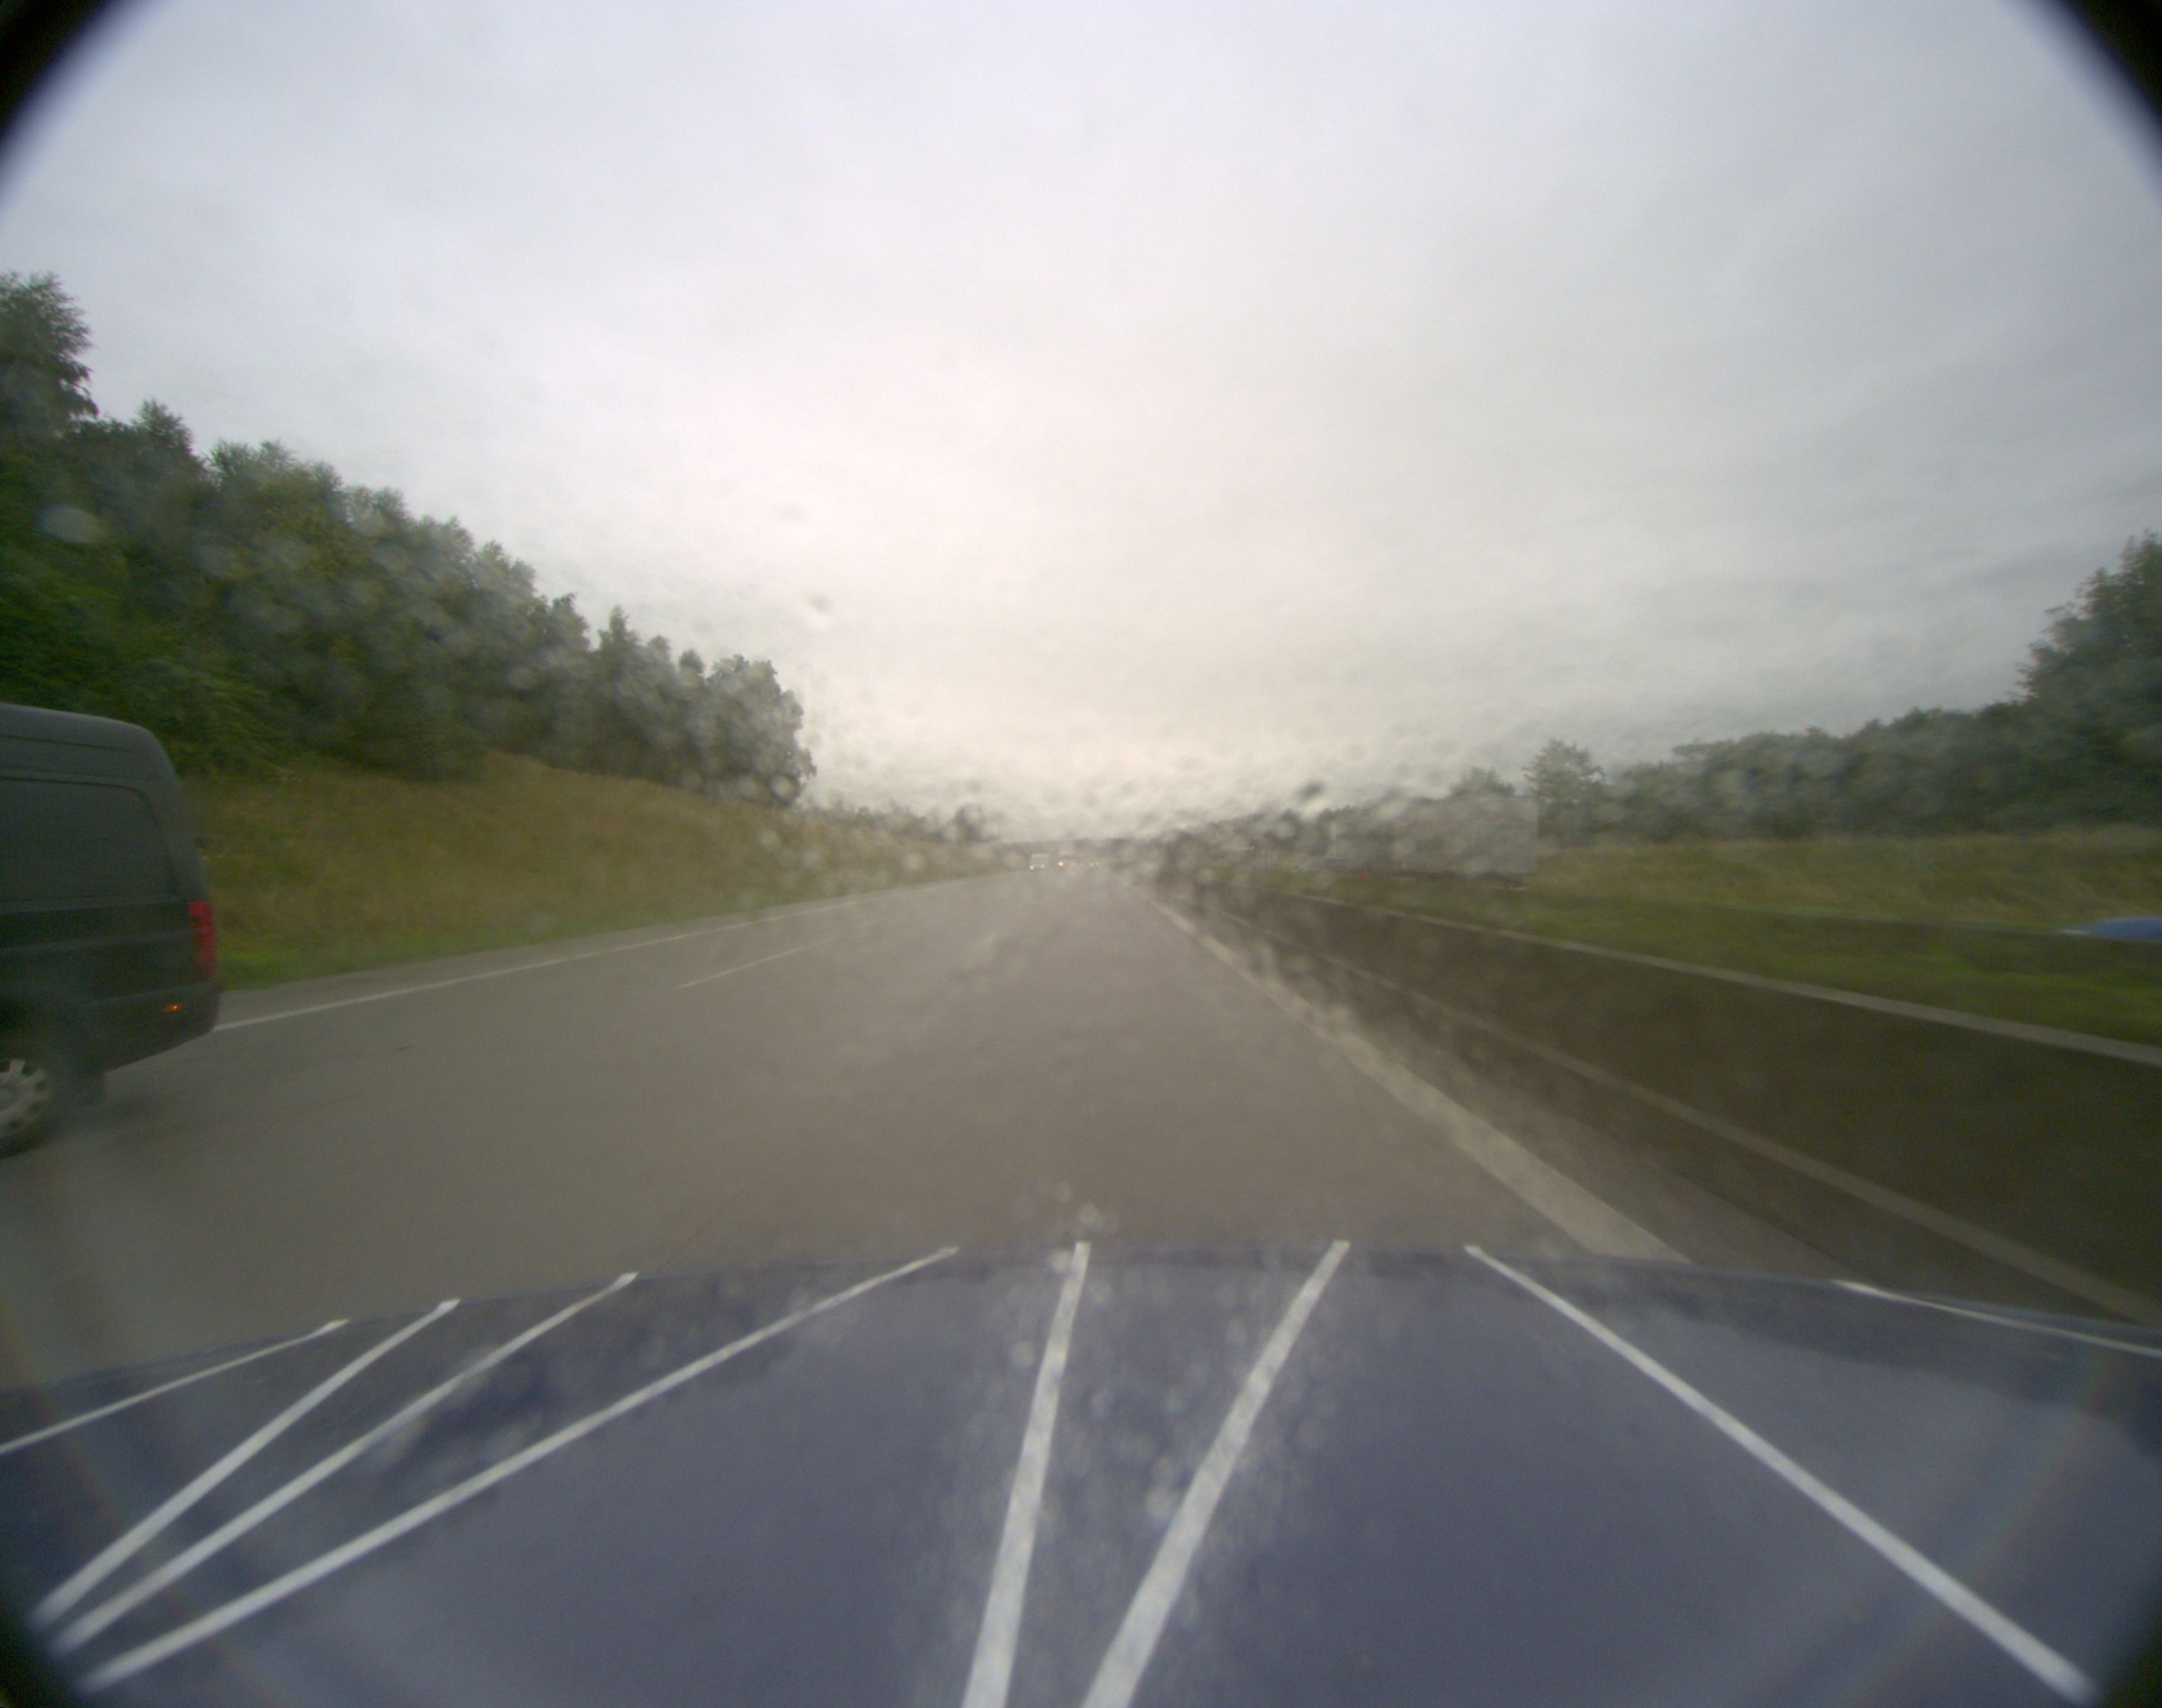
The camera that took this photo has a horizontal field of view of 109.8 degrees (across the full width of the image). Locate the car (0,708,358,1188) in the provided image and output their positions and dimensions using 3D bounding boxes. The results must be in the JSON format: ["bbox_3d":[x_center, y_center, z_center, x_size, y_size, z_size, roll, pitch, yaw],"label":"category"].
[{"bbox_3d":[-6.975,0.548,2.871,1.945,2.643,6.586,-2,0,2],"label":"car"}]

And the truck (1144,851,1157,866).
[{"bbox_3d":[20.738,1.262,227.279,2.761,4.182,13.101,0,1,1],"label":"truck"}]

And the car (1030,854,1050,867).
[{"bbox_3d":[-5.369,0.860,100.213,1.998,1.575,5.953,-2,0,2],"label":"car"}]

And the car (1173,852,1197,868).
[{"bbox_3d":[10.364,0.591,76.028,1.759,1.460,4.448,-1,0,0],"label":"car"}]

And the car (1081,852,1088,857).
[{"bbox_3d":[1.088,0.104,223.453,1.998,1.575,5.012,-1,0,2],"label":"car"}]

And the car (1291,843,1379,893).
[{"bbox_3d":[9.226,0.471,27.994,1.765,1.677,4.455,0,0,0],"label":"car"}]

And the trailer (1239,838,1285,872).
[{"bbox_3d":[13.293,0.061,56.156,2.043,2.359,5.833,0,0,0],"label":"trailer"}]

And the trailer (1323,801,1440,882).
[{"bbox_3d":[16.804,-0.612,43.488,2.593,4.023,10.375,1,0,1],"label":"trailer"}]

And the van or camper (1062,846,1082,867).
[{"bbox_3d":[-1.111,0.322,99.705,2.233,2.537,7.950,-1,0,2],"label":"van or camper"}]

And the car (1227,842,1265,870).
[{"bbox_3d":[13.307,0.151,61.662,1.998,2.168,5.207,-1,0,0],"label":"car"}]

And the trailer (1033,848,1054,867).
[{"bbox_3d":[-5.197,0.453,106.157,2.348,2.445,5.939,0,1,2],"label":"trailer"}]

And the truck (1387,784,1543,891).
[{"bbox_3d":[16.722,-0.639,33.950,2.591,4.116,8.592,1,0,1],"label":"truck"}]

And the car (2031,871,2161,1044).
[{"bbox_3d":[10.426,0.930,5.452,1.668,1.507,4.465,0,0,0],"label":"car"}]
